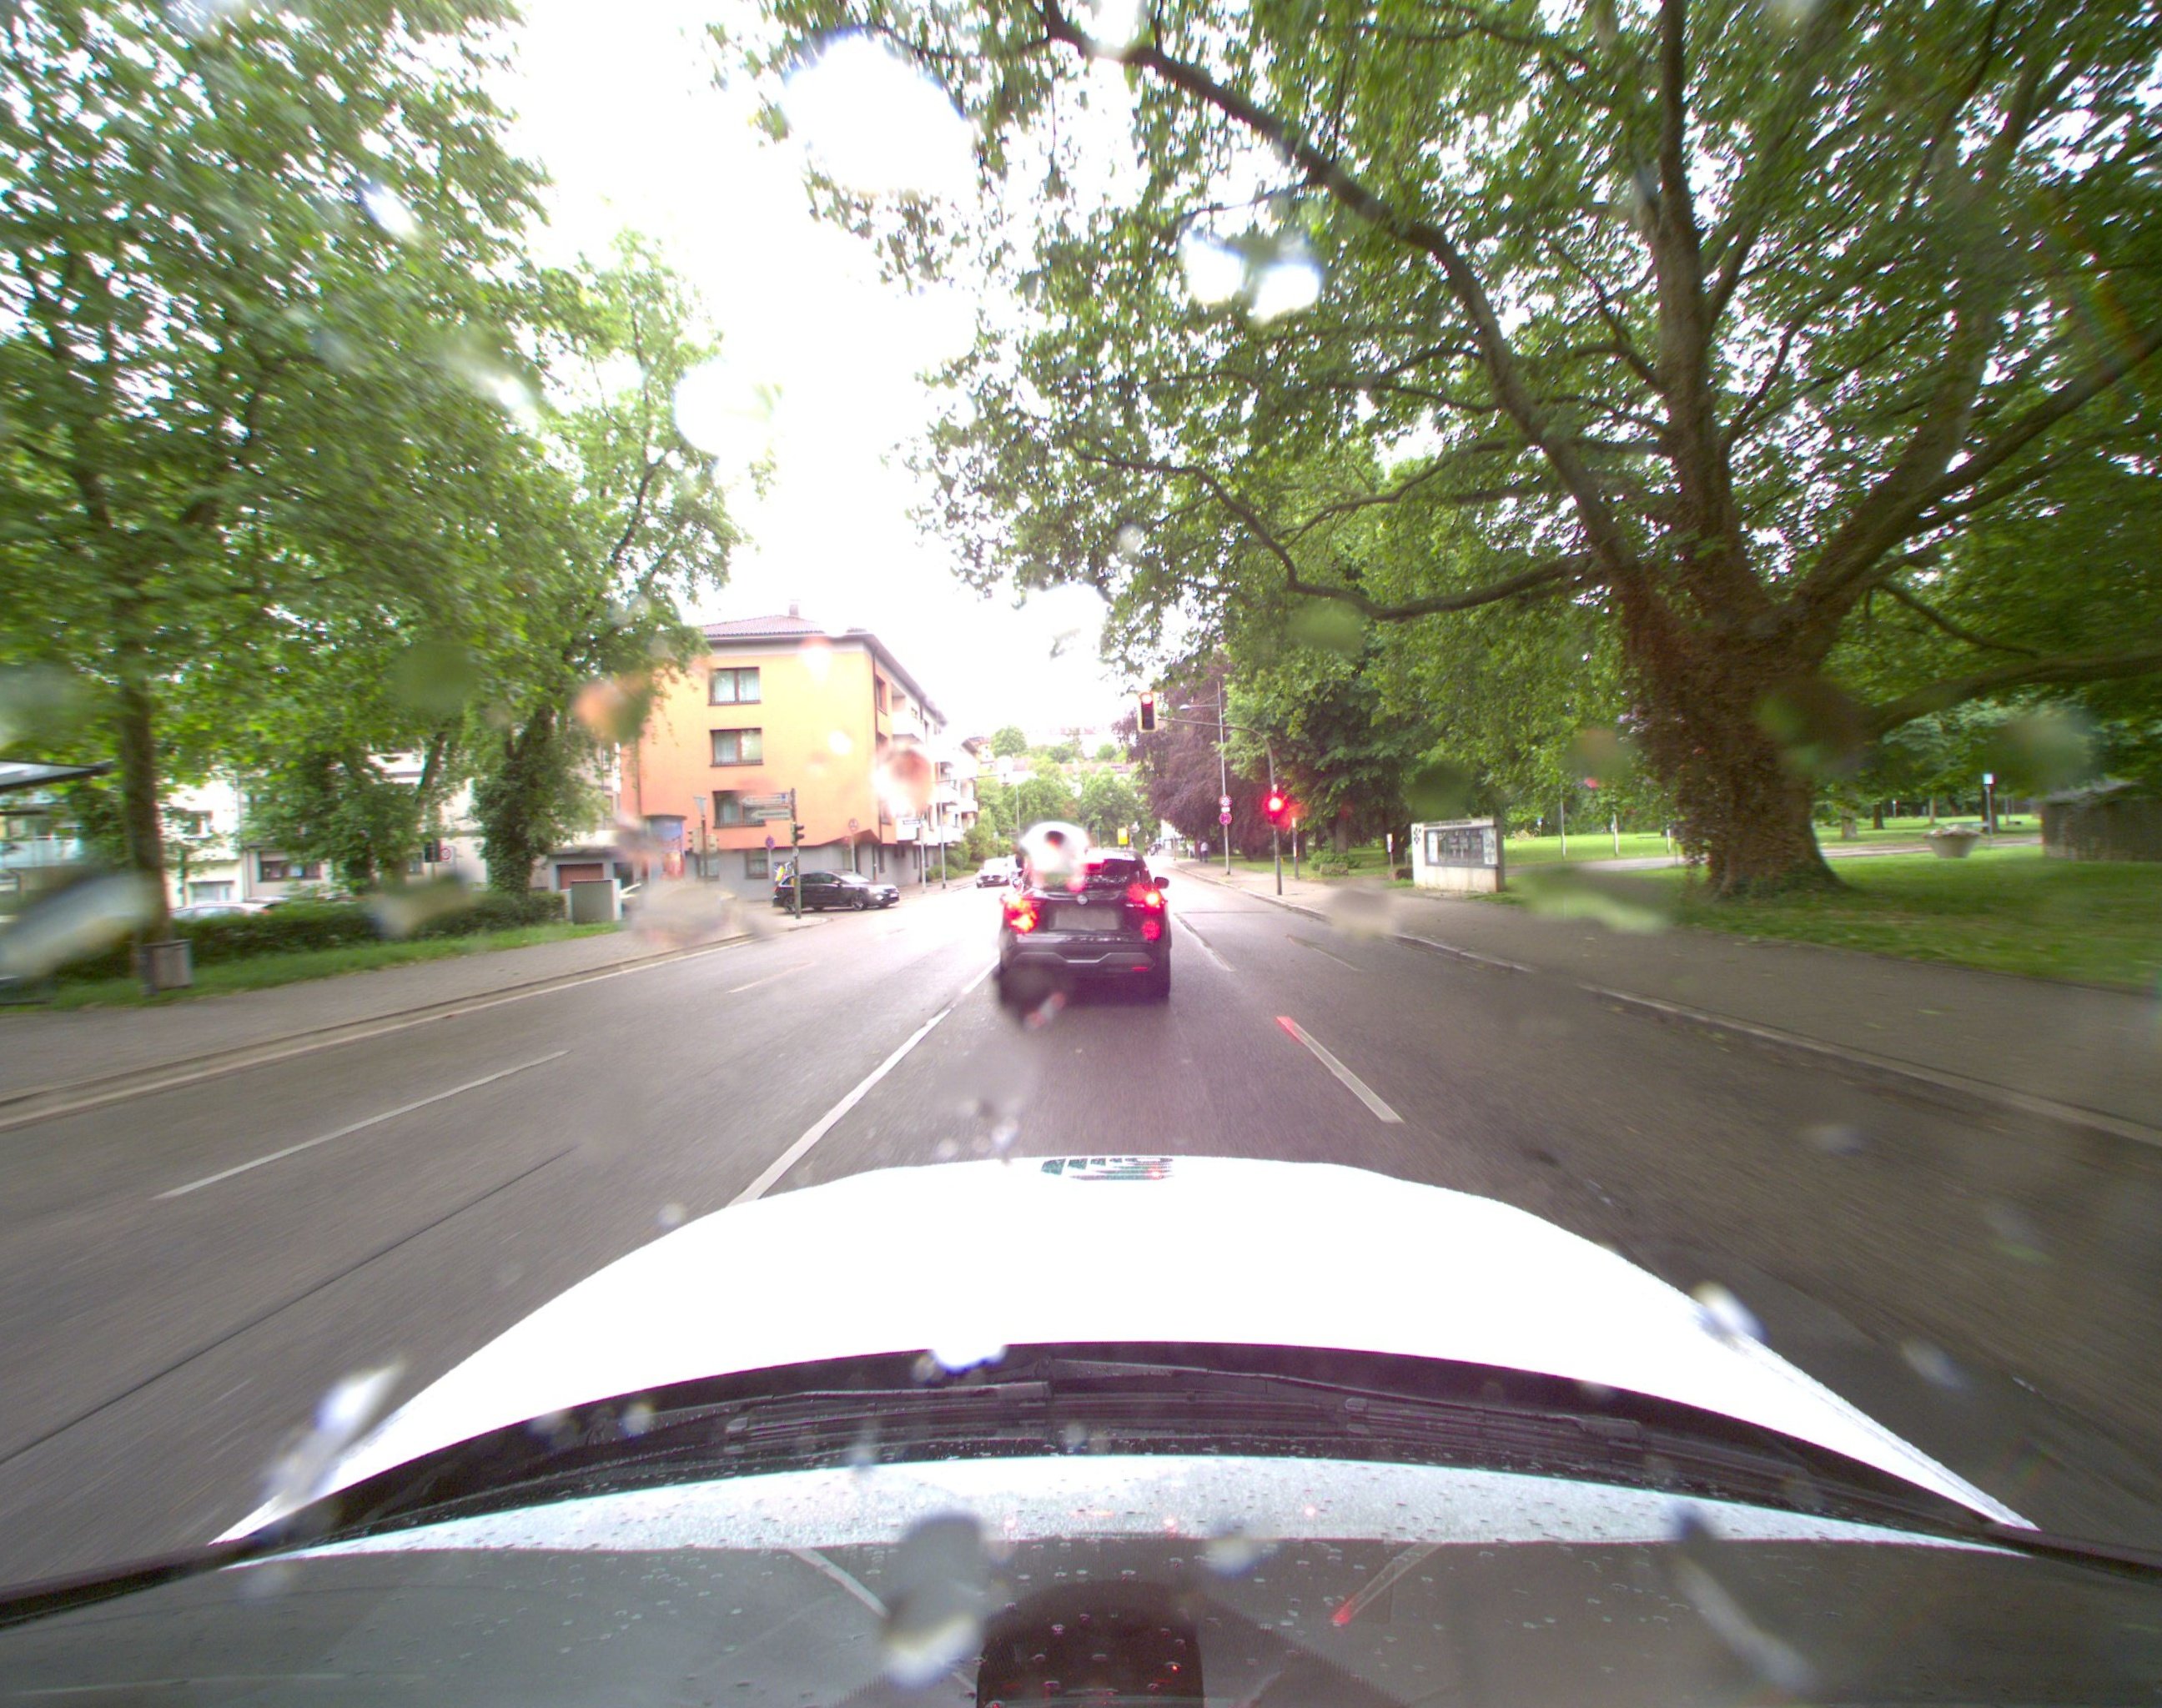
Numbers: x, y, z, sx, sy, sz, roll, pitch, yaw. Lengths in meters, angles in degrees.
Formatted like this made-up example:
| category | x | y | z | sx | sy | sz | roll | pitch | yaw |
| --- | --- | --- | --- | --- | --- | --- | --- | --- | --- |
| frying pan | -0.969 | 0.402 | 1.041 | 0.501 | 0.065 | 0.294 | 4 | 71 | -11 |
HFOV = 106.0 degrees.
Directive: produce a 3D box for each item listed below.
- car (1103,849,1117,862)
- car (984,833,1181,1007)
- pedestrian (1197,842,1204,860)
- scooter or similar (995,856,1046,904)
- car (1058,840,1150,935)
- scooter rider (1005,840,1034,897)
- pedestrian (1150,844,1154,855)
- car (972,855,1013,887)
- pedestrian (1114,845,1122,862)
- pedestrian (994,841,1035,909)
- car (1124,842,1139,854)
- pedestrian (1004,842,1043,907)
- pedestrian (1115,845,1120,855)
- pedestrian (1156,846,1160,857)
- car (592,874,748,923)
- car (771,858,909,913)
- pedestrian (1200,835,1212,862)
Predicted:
| category | x | y | z | sx | sy | sz | roll | pitch | yaw |
| --- | --- | --- | --- | --- | --- | --- | --- | --- | --- |
| car | 3.602 | 0.215 | 101.741 | 1.628 | 1.532 | 3.969 | -3 | 0 | 2 |
| car | 0.085 | 0.645 | 9.993 | 1.906 | 1.680 | 4.002 | -1 | 0 | 2 |
| pedestrian | 9.826 | -0.261 | 67.064 | 0.388 | 1.502 | 0.559 | -3 | 0 | 2 |
| scooter or similar | -1.916 | 0.820 | 25.921 | 1.384 | 1.446 | 0.820 | -3 | -1 | 14 |
| car | 0.503 | 0.641 | 17.553 | 1.692 | 1.745 | 3.642 | -3 | 0 | 2 |
| scooter rider | -1.965 | 0.449 | 25.925 | 0.638 | 1.766 | 0.738 | -2 | -1 | 16 |
| pedestrian | 11.488 | -0.684 | 131.171 | 0.506 | 1.802 | 0.620 | -3 | 0 | 2 |
| car | -4.781 | 0.880 | 44.344 | 1.791 | 1.533 | 3.865 | -3 | 0 | -2 |
| pedestrian | 3.956 | -0.031 | 87.689 | 0.612 | 1.802 | 0.513 | -3 | 0 | 26 |
| pedestrian | -1.923 | 0.600 | 23.489 | 1.035 | 1.876 | 0.656 | -3 | 0 | -9 |
| car | 7.578 | -0.848 | 121.843 | 1.983 | 1.735 | 4.008 | 0 | 0 | 7 |
| pedestrian | -1.717 | 0.603 | 24.236 | 1.035 | 1.876 | 0.656 | -3 | 0 | -9 |
| pedestrian | 6.148 | -0.755 | 138.056 | 0.503 | 1.673 | 0.663 | -3 | 0 | 30 |
| pedestrian | 12.452 | -0.434 | 131.226 | 0.507 | 1.802 | 0.619 | -3 | 0 | 1 |
| car | -14.780 | 1.573 | 29.441 | 4.616 | 1.403 | 1.833 | -3 | 0 | 3 |
| car | -8.360 | 1.083 | 28.374 | 4.099 | 1.625 | 1.856 | -3 | 0 | 9 |
| pedestrian | 9.602 | -0.403 | 62.605 | 0.722 | 2.013 | 0.852 | -3 | 0 | 2 |
